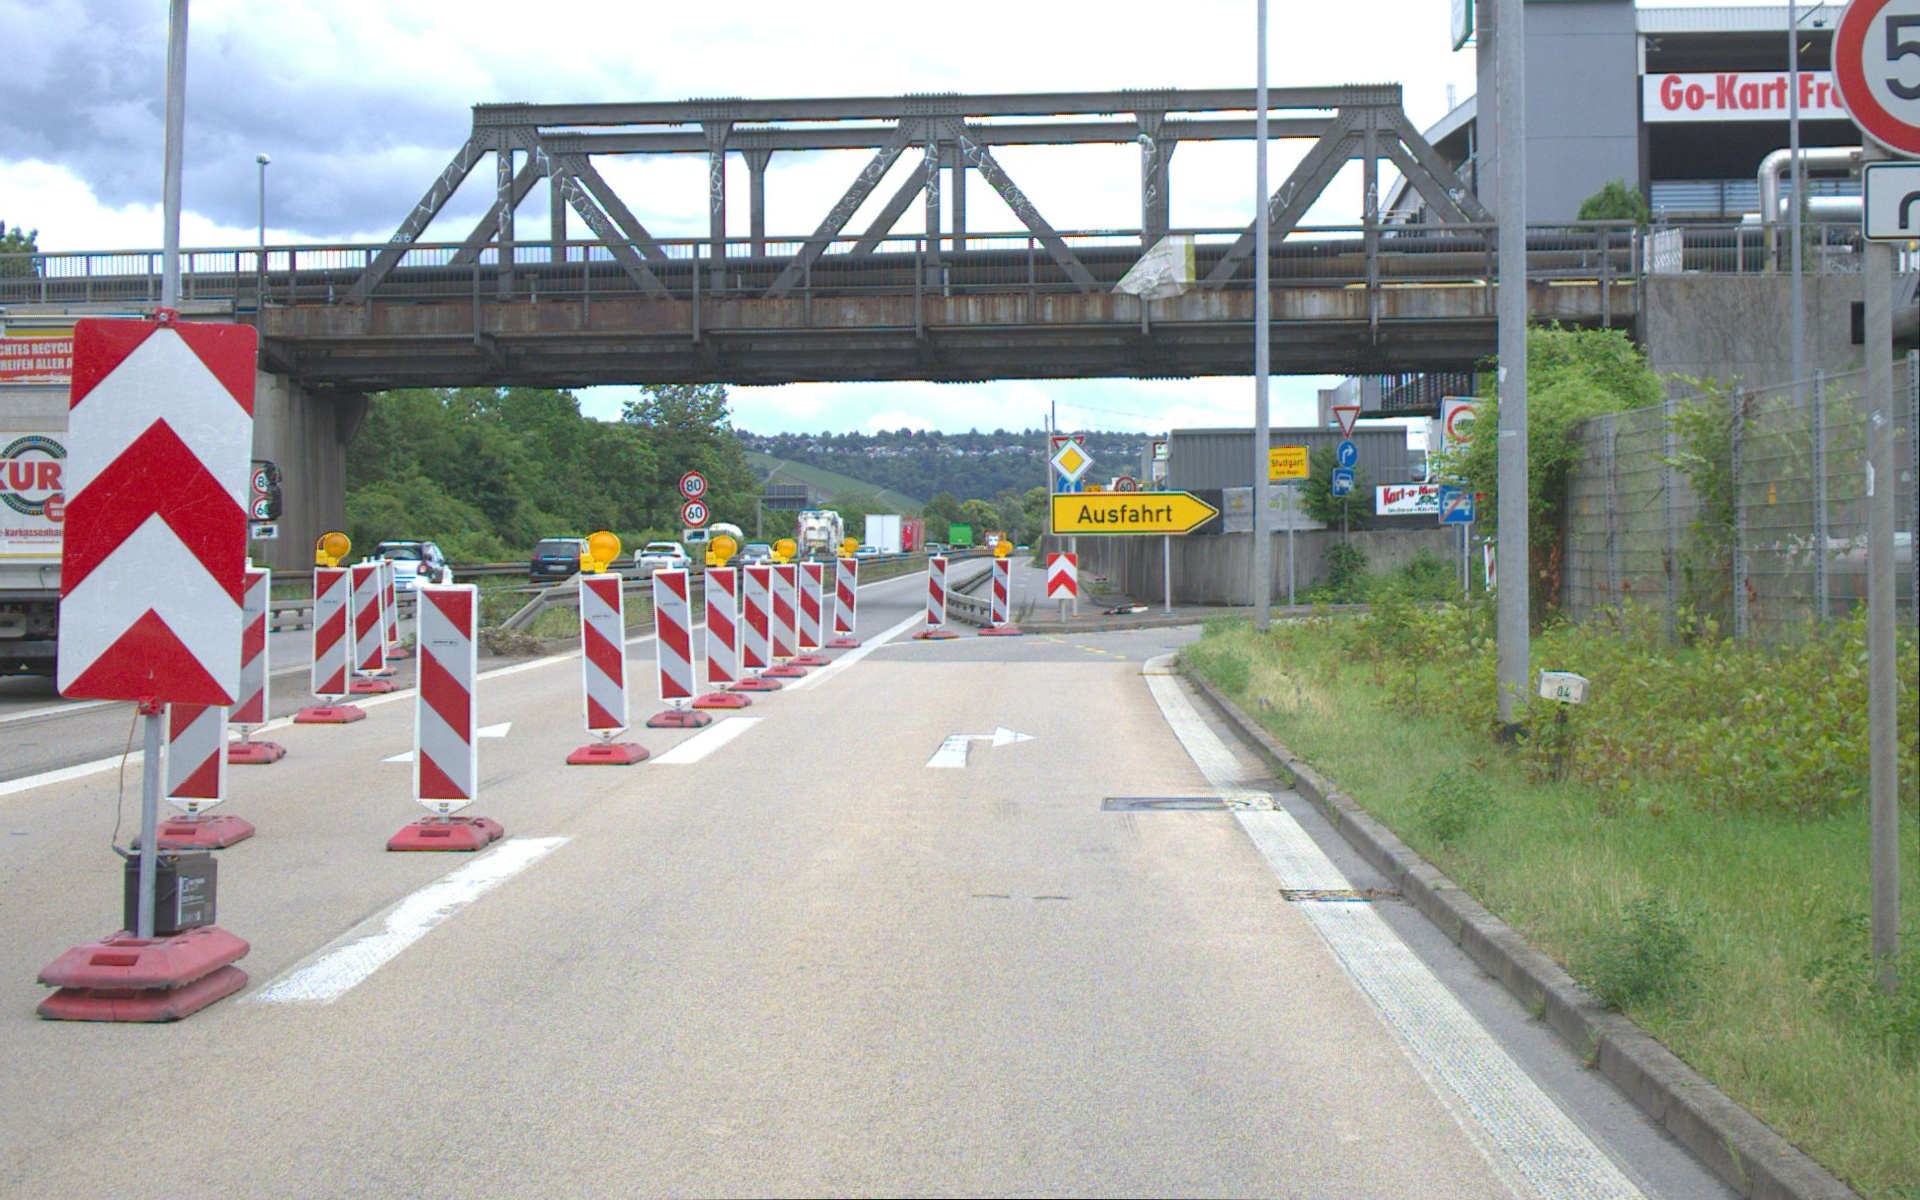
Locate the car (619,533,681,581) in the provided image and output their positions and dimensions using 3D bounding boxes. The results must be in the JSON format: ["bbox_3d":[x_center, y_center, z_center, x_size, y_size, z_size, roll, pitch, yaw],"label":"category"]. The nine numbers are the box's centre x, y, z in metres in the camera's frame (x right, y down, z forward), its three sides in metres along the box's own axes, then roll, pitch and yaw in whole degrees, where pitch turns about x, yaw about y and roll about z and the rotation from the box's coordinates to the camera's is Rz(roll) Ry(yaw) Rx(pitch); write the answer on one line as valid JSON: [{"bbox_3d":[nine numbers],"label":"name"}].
[{"bbox_3d":[-11.825,-1.655,131.159,1.993,1.809,4.000,0,1,0],"label":"car"}]

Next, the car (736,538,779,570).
[{"bbox_3d":[-10.124,-2.319,172.042,1.779,1.590,3.749,0,1,2],"label":"car"}]

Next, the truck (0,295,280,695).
[{"bbox_3d":[-9.232,-0.982,36.103,2.952,3.617,10.156,0,0,-5],"label":"truck"}]

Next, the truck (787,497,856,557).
[{"bbox_3d":[-8.634,-4.543,214.750,3.720,3.633,7.727,0,1,2],"label":"truck"}]

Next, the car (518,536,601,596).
[{"bbox_3d":[-12.137,-1.024,104.381,1.993,1.753,4.000,-1,0,0],"label":"car"}]

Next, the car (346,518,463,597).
[{"bbox_3d":[-12.834,-0.965,79.616,1.993,1.753,4.000,-1,0,1],"label":"car"}]

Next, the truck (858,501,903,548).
[{"bbox_3d":[-5.390,-5.140,235.270,2.681,3.129,6.132,1,1,2],"label":"truck"}]

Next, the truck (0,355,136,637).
[{"bbox_3d":[-13.638,-1.309,47.087,2.994,3.544,7.741,-1,0,-2],"label":"truck"}]
